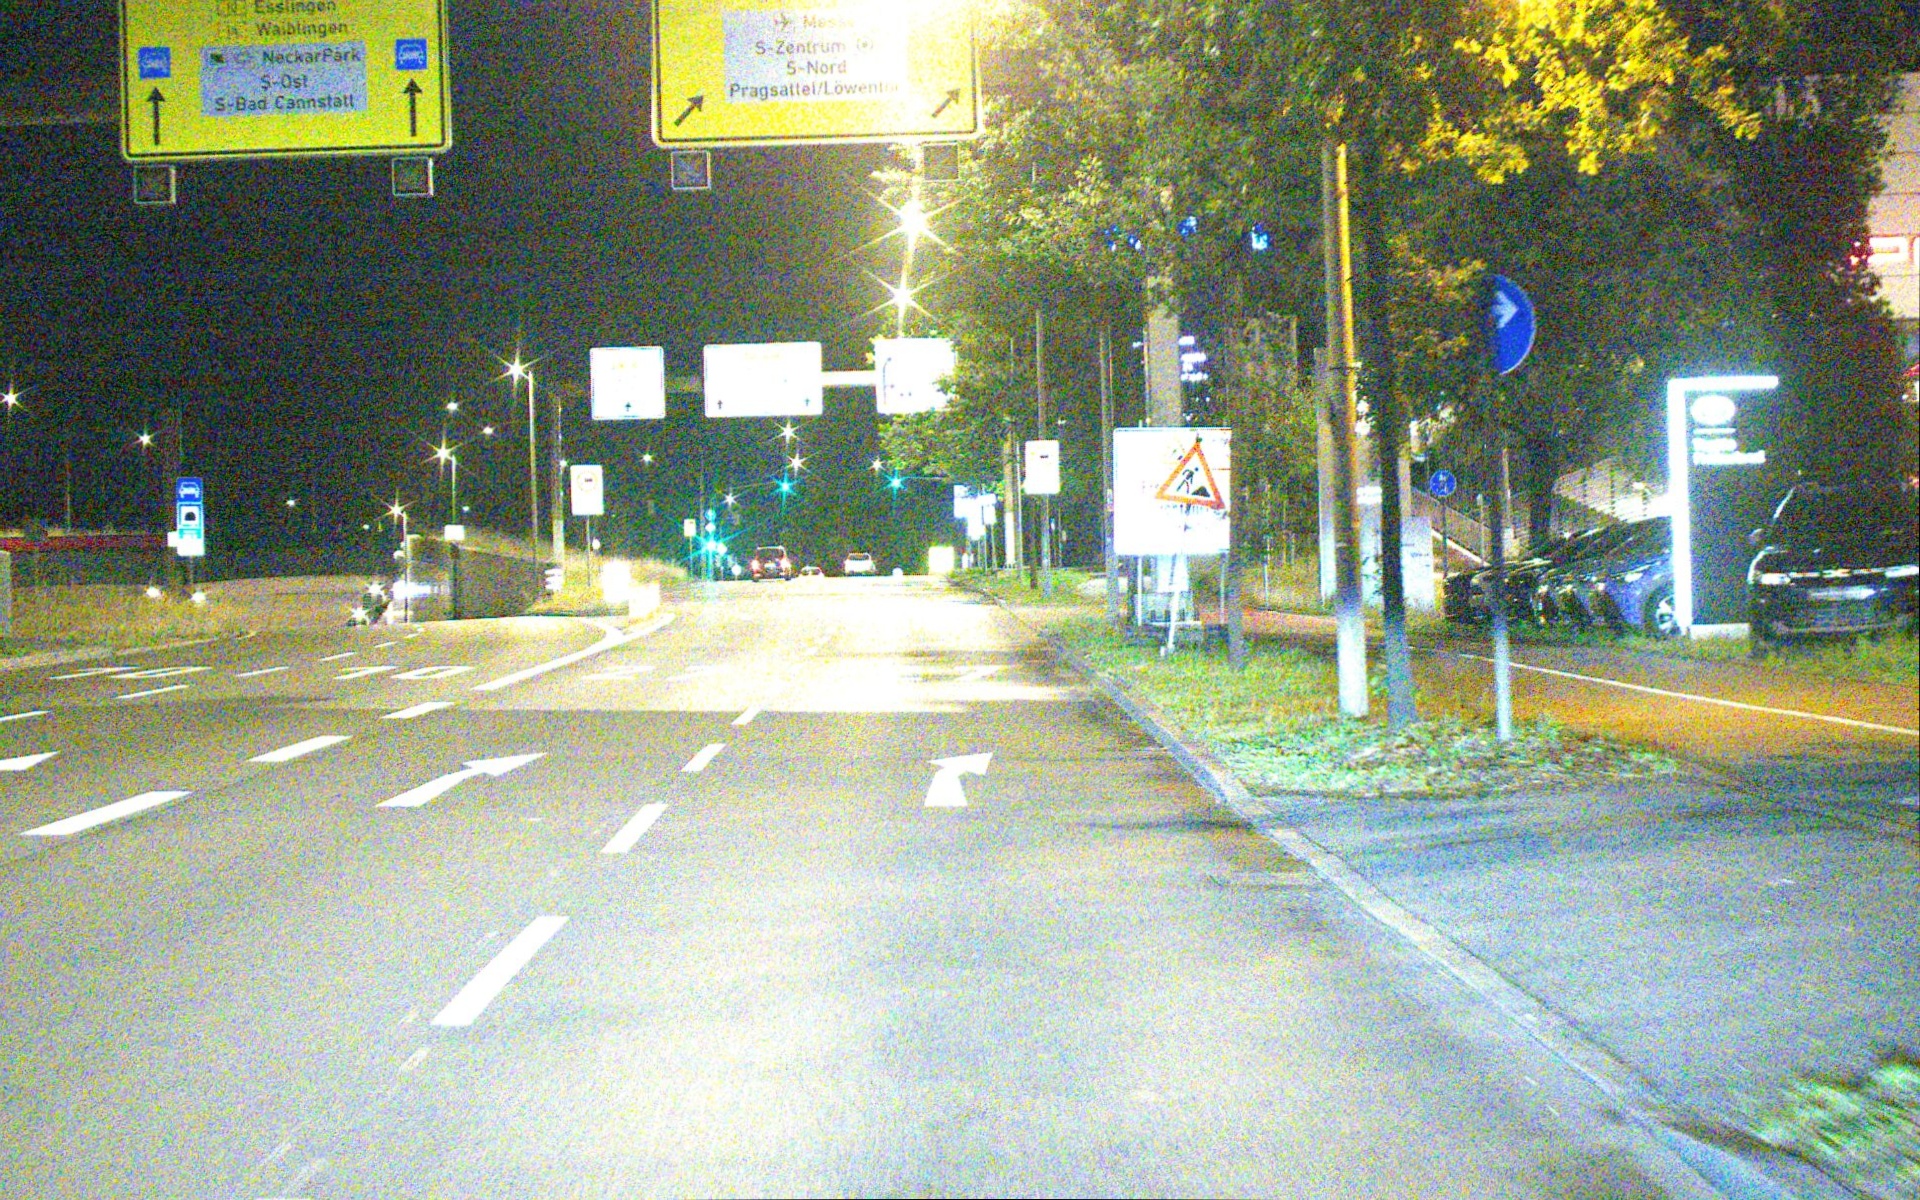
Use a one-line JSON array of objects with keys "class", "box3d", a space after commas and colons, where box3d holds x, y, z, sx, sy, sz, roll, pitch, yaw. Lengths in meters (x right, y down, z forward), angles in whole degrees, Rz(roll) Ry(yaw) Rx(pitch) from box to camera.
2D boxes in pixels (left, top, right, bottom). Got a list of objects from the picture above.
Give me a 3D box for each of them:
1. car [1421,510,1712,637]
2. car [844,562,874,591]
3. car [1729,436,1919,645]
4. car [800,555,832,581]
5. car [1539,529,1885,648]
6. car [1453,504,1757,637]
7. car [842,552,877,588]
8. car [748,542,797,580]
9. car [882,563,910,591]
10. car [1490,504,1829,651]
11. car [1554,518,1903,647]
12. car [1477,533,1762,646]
[{"class": "car", "box3d": [9.116, -0.376, 51.857, 3.986, 1.850, 1.822, 0, -1, -4]}, {"class": "car", "box3d": [-6.298, -1.470, 214.455, 1.781, 1.722, 4.000, 0, -1, -1]}, {"class": "car", "box3d": [8.781, -0.534, 34.029, 1.995, 1.938, 3.996, 0, -1, 17]}, {"class": "car", "box3d": [-9.578, -2.104, 228.938, 1.993, 1.590, 4.000, -1, -1, 0]}, {"class": "car", "box3d": [9.189, -0.133, 42.190, 3.824, 1.406, 1.711, 0, -1, -3]}, {"class": "car", "box3d": [9.284, -0.404, 49.679, 3.986, 1.850, 1.822, 0, -1, -4]}, {"class": "car", "box3d": [-5.863, -1.761, 200.751, 1.993, 2.007, 4.000, 0, -1, -1]}, {"class": "car", "box3d": [-8.835, -1.818, 162.439, 1.968, 1.705, 4.000, 0, -1, 2]}, {"class": "car", "box3d": [-4.250, -1.521, 229.080, 1.838, 1.831, 4.000, 0, -1, -1]}, {"class": "car", "box3d": [9.088, -0.278, 44.847, 3.986, 1.850, 1.822, 0, -1, -4]}, {"class": "car", "box3d": [8.893, -0.186, 39.958, 3.624, 1.446, 1.708, 0, -1, -4]}, {"class": "car", "box3d": [9.030, -0.126, 47.206, 3.510, 1.503, 1.736, 0, -1, -4]}]
